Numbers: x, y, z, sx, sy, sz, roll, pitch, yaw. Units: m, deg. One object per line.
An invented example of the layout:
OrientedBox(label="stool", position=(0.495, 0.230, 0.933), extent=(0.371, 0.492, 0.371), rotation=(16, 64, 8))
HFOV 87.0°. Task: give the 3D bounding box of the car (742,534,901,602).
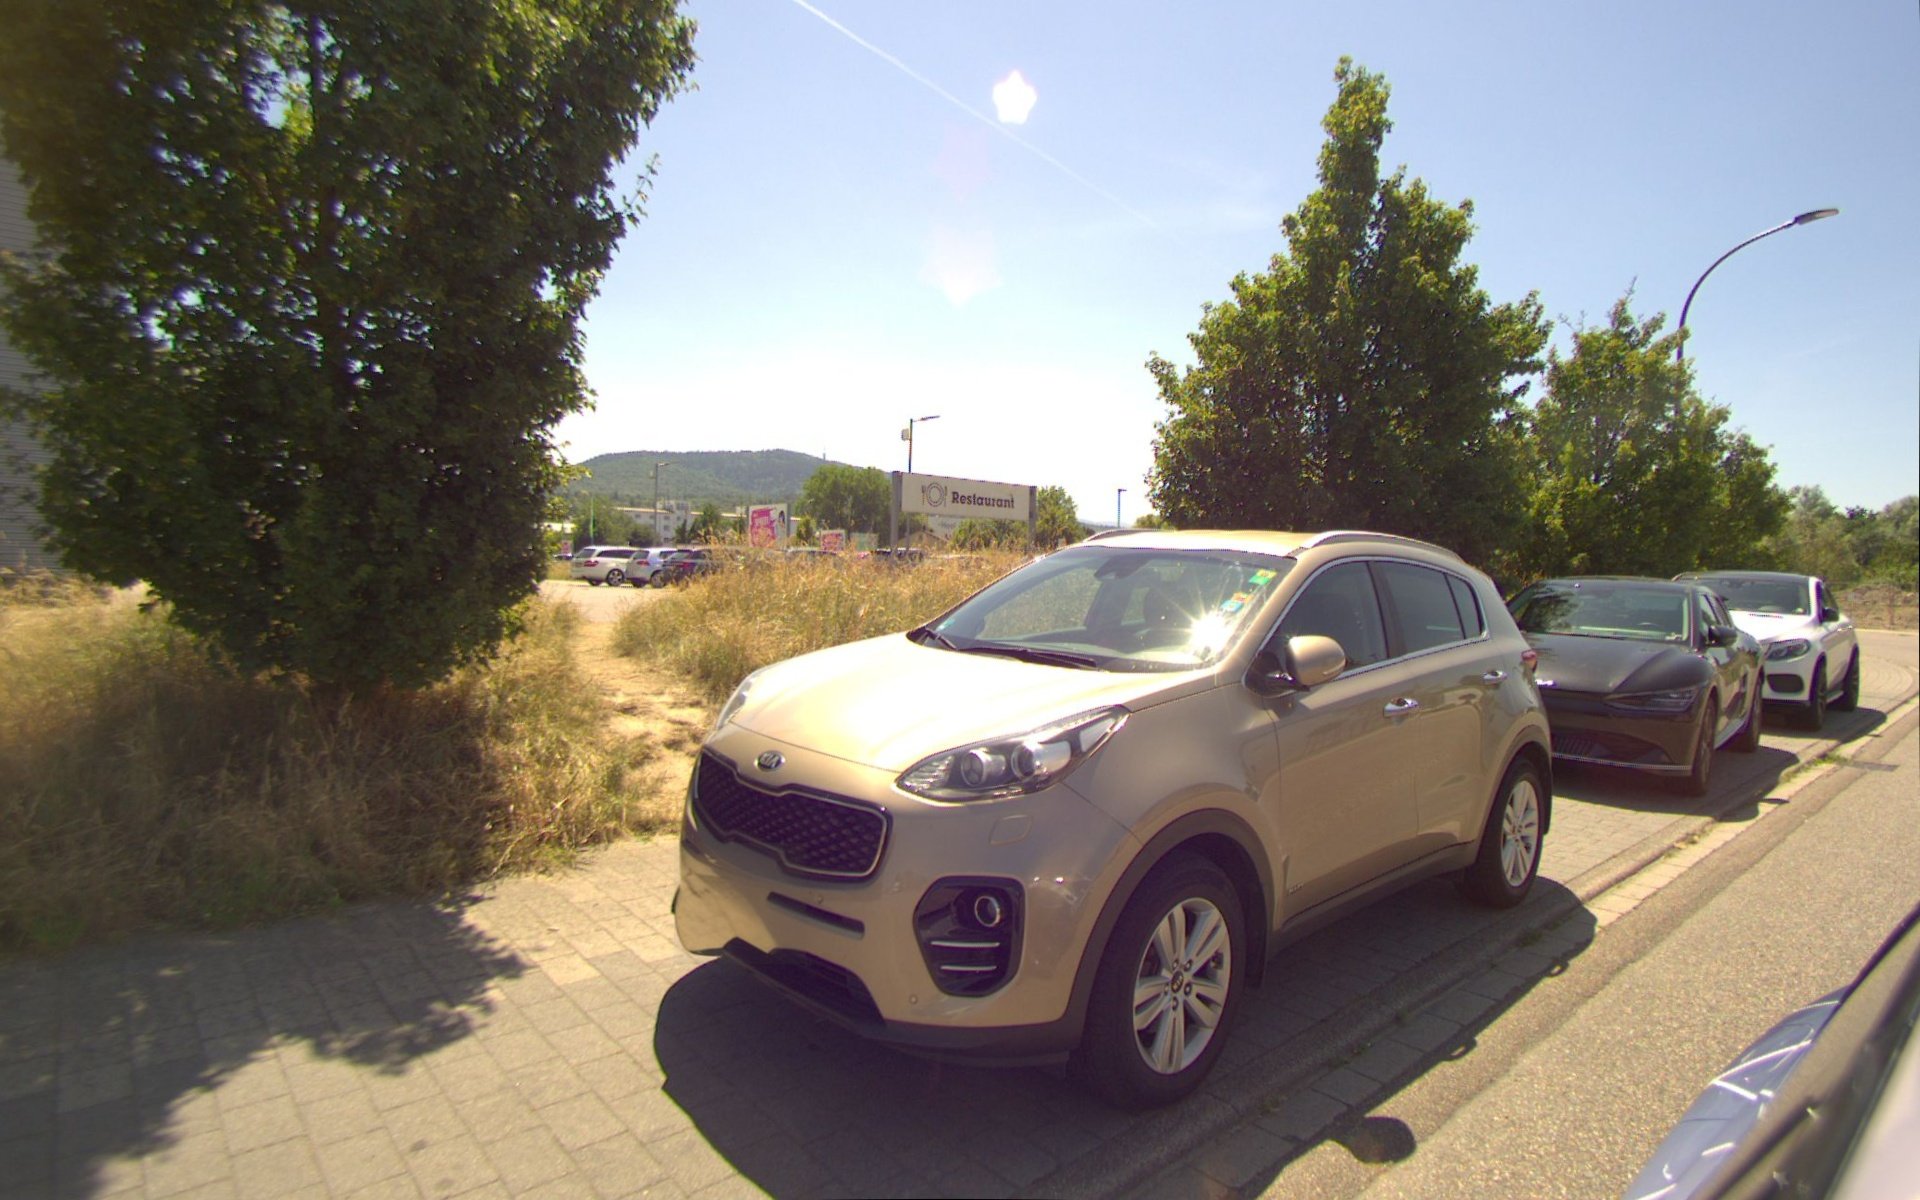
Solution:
OrientedBox(label="car", position=(-4.106, -0.937, 30.480), extent=(4.325, 1.808, 1.997), rotation=(2, 2, -42))

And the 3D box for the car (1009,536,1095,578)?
OrientedBox(label="car", position=(5.202, -2.430, 56.839), extent=(4.665, 2.270, 1.999), rotation=(-1, 3, -38))

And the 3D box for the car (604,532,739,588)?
OrientedBox(label="car", position=(-10.623, -1.454, 37.439), extent=(4.325, 1.808, 1.997), rotation=(2, 2, -42))

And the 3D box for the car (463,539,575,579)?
OrientedBox(label="car", position=(-20.409, -1.883, 46.911), extent=(4.325, 1.601, 1.997), rotation=(2, 2, -42))

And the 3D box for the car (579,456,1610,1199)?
OrientedBox(label="car", position=(0.951, 0.462, 4.213), extent=(4.382, 1.655, 1.808), rotation=(0, 4, -42))

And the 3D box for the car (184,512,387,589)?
OrientedBox(label="car", position=(-18.273, -1.301, 27.532), extent=(4.325, 1.808, 1.997), rotation=(2, 2, -42))

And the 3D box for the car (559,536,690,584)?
OrientedBox(label="car", position=(-12.869, -1.508, 38.927), extent=(4.325, 1.601, 1.997), rotation=(2, 2, -42))

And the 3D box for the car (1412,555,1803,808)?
OrientedBox(label="car", position=(5.781, 0.468, 8.749), extent=(1.905, 1.547, 4.556), rotation=(5, 4, 44))

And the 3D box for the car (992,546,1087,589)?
OrientedBox(label="car", position=(3.756, -1.522, 47.382), extent=(4.326, 1.890, 1.997), rotation=(-1, 3, -42))

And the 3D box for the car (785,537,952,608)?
OrientedBox(label="car", position=(-2.544, -0.754, 28.711), extent=(4.325, 1.808, 1.997), rotation=(2, 2, -42))

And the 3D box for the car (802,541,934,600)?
OrientedBox(label="car", position=(-3.230, -1.026, 36.101), extent=(4.325, 1.873, 1.997), rotation=(2, 2, -42))

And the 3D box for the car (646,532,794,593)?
OrientedBox(label="car", position=(-7.950, -1.224, 33.756), extent=(4.325, 1.808, 1.997), rotation=(2, 2, -42))

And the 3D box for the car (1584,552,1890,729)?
OrientedBox(label="car", position=(9.784, 0.364, 12.599), extent=(4.703, 1.719, 2.148), rotation=(0, 4, -42))

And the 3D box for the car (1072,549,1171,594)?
OrientedBox(label="car", position=(7.010, -1.240, 43.758), extent=(4.326, 1.808, 1.936), rotation=(-1, 4, -42))
